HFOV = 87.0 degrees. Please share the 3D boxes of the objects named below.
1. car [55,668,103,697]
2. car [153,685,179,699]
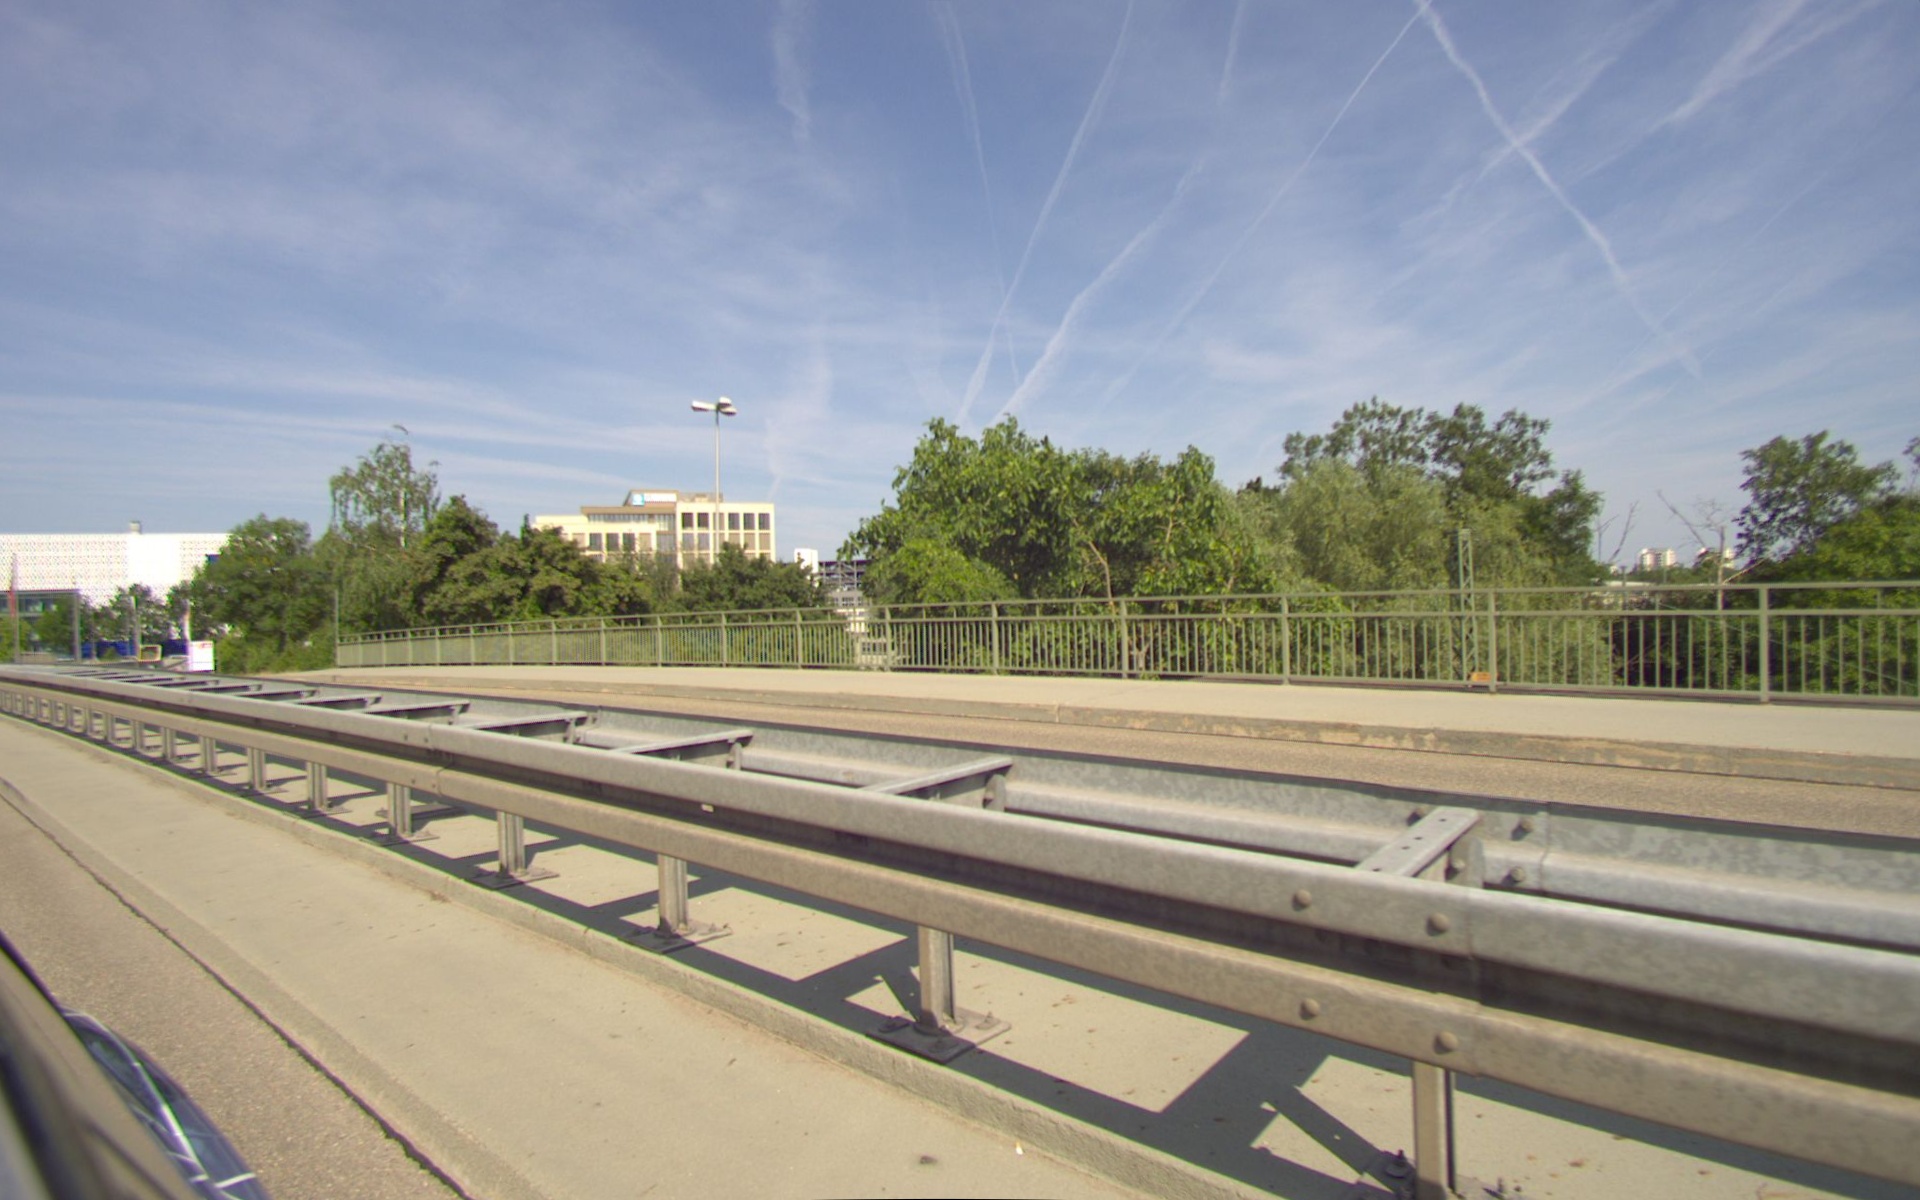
[{"bbox_3d":[-54.044,5.049,62.135,1.857,1.648,4.233,2,-5,-36],"label":"car"},{"bbox_3d":[-99.865,11.539,127.277,1.795,1.485,4.013,-1,-1,-26],"label":"car"}]
